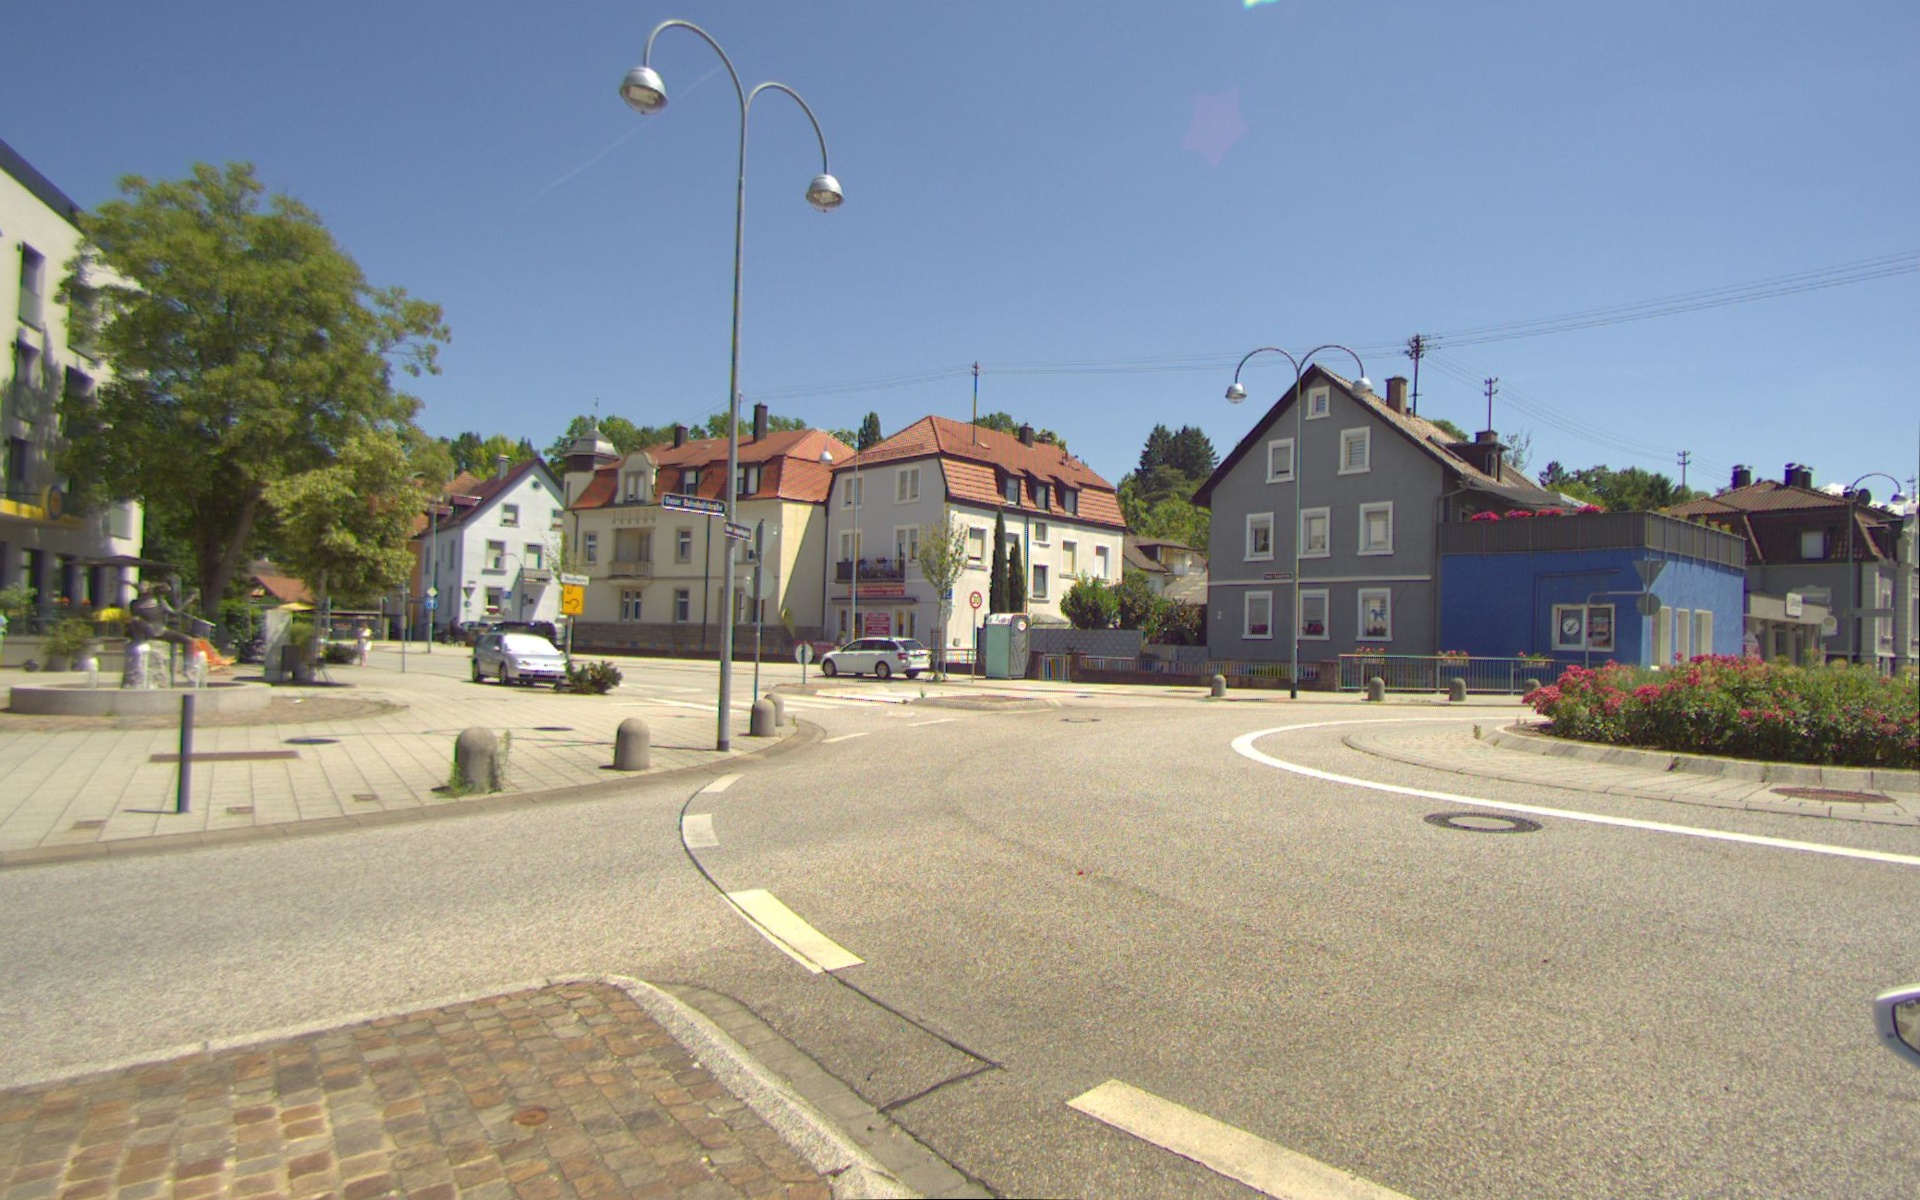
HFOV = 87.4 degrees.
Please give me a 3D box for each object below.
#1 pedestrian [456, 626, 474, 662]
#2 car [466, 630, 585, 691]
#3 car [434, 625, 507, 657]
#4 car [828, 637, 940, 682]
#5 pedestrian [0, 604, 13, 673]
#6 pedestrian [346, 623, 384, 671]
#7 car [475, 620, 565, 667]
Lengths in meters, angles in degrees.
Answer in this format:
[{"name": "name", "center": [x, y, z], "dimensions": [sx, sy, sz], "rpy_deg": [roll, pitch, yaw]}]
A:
[{"name": "pedestrian", "center": [-28.540, 2.549, 57.890], "dimensions": [0.707, 2.040, 0.874], "rpy_deg": [1, -2, -13]}, {"name": "car", "center": [-12.176, 1.640, 28.044], "dimensions": [1.785, 1.544, 3.949], "rpy_deg": [3, -3, -43]}, {"name": "car", "center": [-32.755, 2.727, 67.359], "dimensions": [3.928, 2.040, 1.997], "rpy_deg": [1, -2, -9]}, {"name": "car", "center": [-2.771, 2.117, 36.198], "dimensions": [4.014, 1.410, 1.603], "rpy_deg": [0, 0, 37]}, {"name": "pedestrian", "center": [-22.875, 0.908, 23.864], "dimensions": [0.446, 1.640, 0.446], "rpy_deg": [2, -2, -39]}, {"name": "pedestrian", "center": [-21.365, 1.678, 36.081], "dimensions": [0.935, 1.670, 0.816], "rpy_deg": [0, -2, 36]}, {"name": "car", "center": [-21.719, 2.132, 49.623], "dimensions": [3.926, 2.040, 1.998], "rpy_deg": [2, -1, 28]}]
